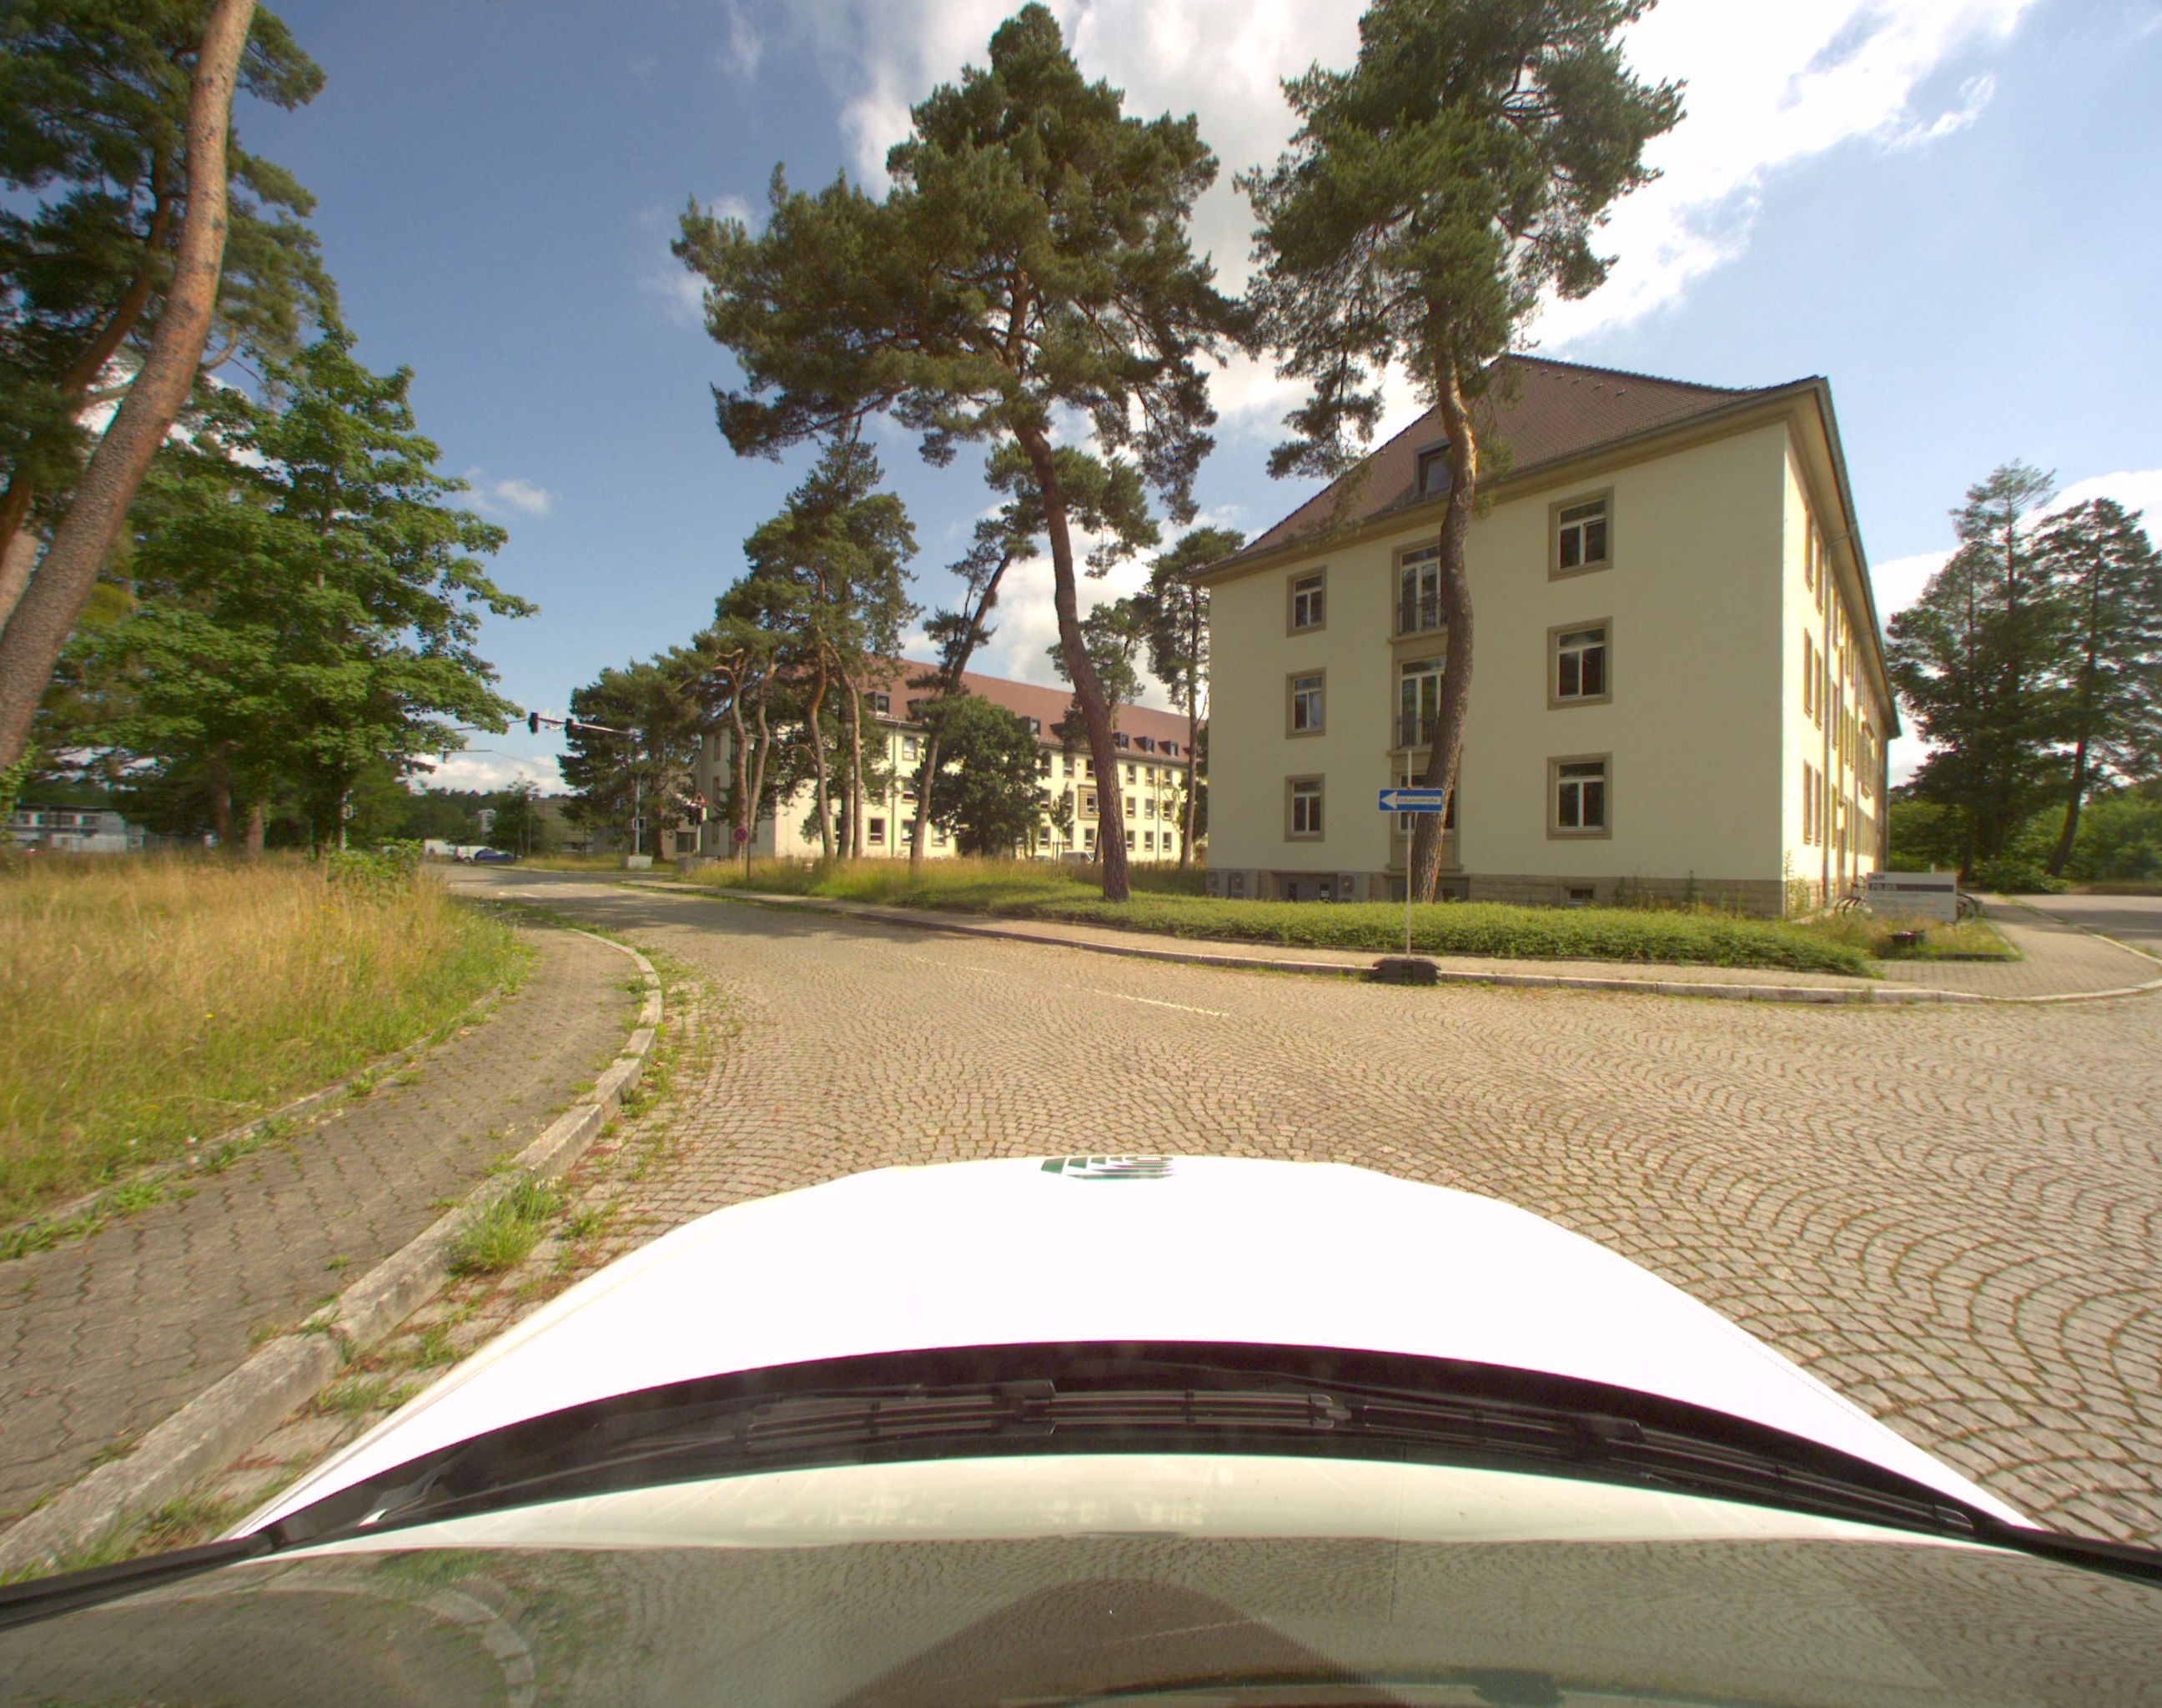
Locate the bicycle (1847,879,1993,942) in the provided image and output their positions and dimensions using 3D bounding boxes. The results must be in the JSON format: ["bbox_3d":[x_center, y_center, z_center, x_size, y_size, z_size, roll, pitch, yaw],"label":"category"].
[{"bbox_3d":[18.544,1.205,18.065,0.626,1.260,2.204,2,-1,-37],"label":"bicycle"}]

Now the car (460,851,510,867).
[{"bbox_3d":[-56.612,0.481,77.402,3.706,1.503,1.712,1,-1,-35],"label":"car"}]

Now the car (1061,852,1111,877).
[{"bbox_3d":[0.387,0.832,65.113,1.722,1.991,4.023,2,-1,-43],"label":"car"}]

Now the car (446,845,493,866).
[{"bbox_3d":[-63.094,0.166,84.059,3.706,2.088,1.712,1,-1,-35],"label":"car"}]

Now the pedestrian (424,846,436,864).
[{"bbox_3d":[-72.011,0.107,90.095,0.972,2.014,1.043,1,-1,-36],"label":"pedestrian"}]

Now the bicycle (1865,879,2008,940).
[{"bbox_3d":[19.335,1.214,18.462,0.626,1.260,2.203,2,-1,-41],"label":"bicycle"}]

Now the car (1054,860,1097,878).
[{"bbox_3d":[-0.423,1.113,62.228,1.433,1.343,3.255,2,-1,-43],"label":"car"}]

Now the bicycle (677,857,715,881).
[{"bbox_3d":[-18.376,0.711,38.890,1.592,1.101,0.486,1,-1,-33],"label":"bicycle"}]

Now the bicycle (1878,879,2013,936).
[{"bbox_3d":[20.745,1.247,19.594,0.626,1.260,2.203,2,-1,-41],"label":"bicycle"}]

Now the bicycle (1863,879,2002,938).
[{"bbox_3d":[19.944,1.237,19.131,0.626,1.260,2.204,2,-1,-37],"label":"bicycle"}]

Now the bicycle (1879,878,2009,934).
[{"bbox_3d":[21.461,1.265,20.313,0.626,1.260,2.203,2,-1,-41],"label":"bicycle"}]
